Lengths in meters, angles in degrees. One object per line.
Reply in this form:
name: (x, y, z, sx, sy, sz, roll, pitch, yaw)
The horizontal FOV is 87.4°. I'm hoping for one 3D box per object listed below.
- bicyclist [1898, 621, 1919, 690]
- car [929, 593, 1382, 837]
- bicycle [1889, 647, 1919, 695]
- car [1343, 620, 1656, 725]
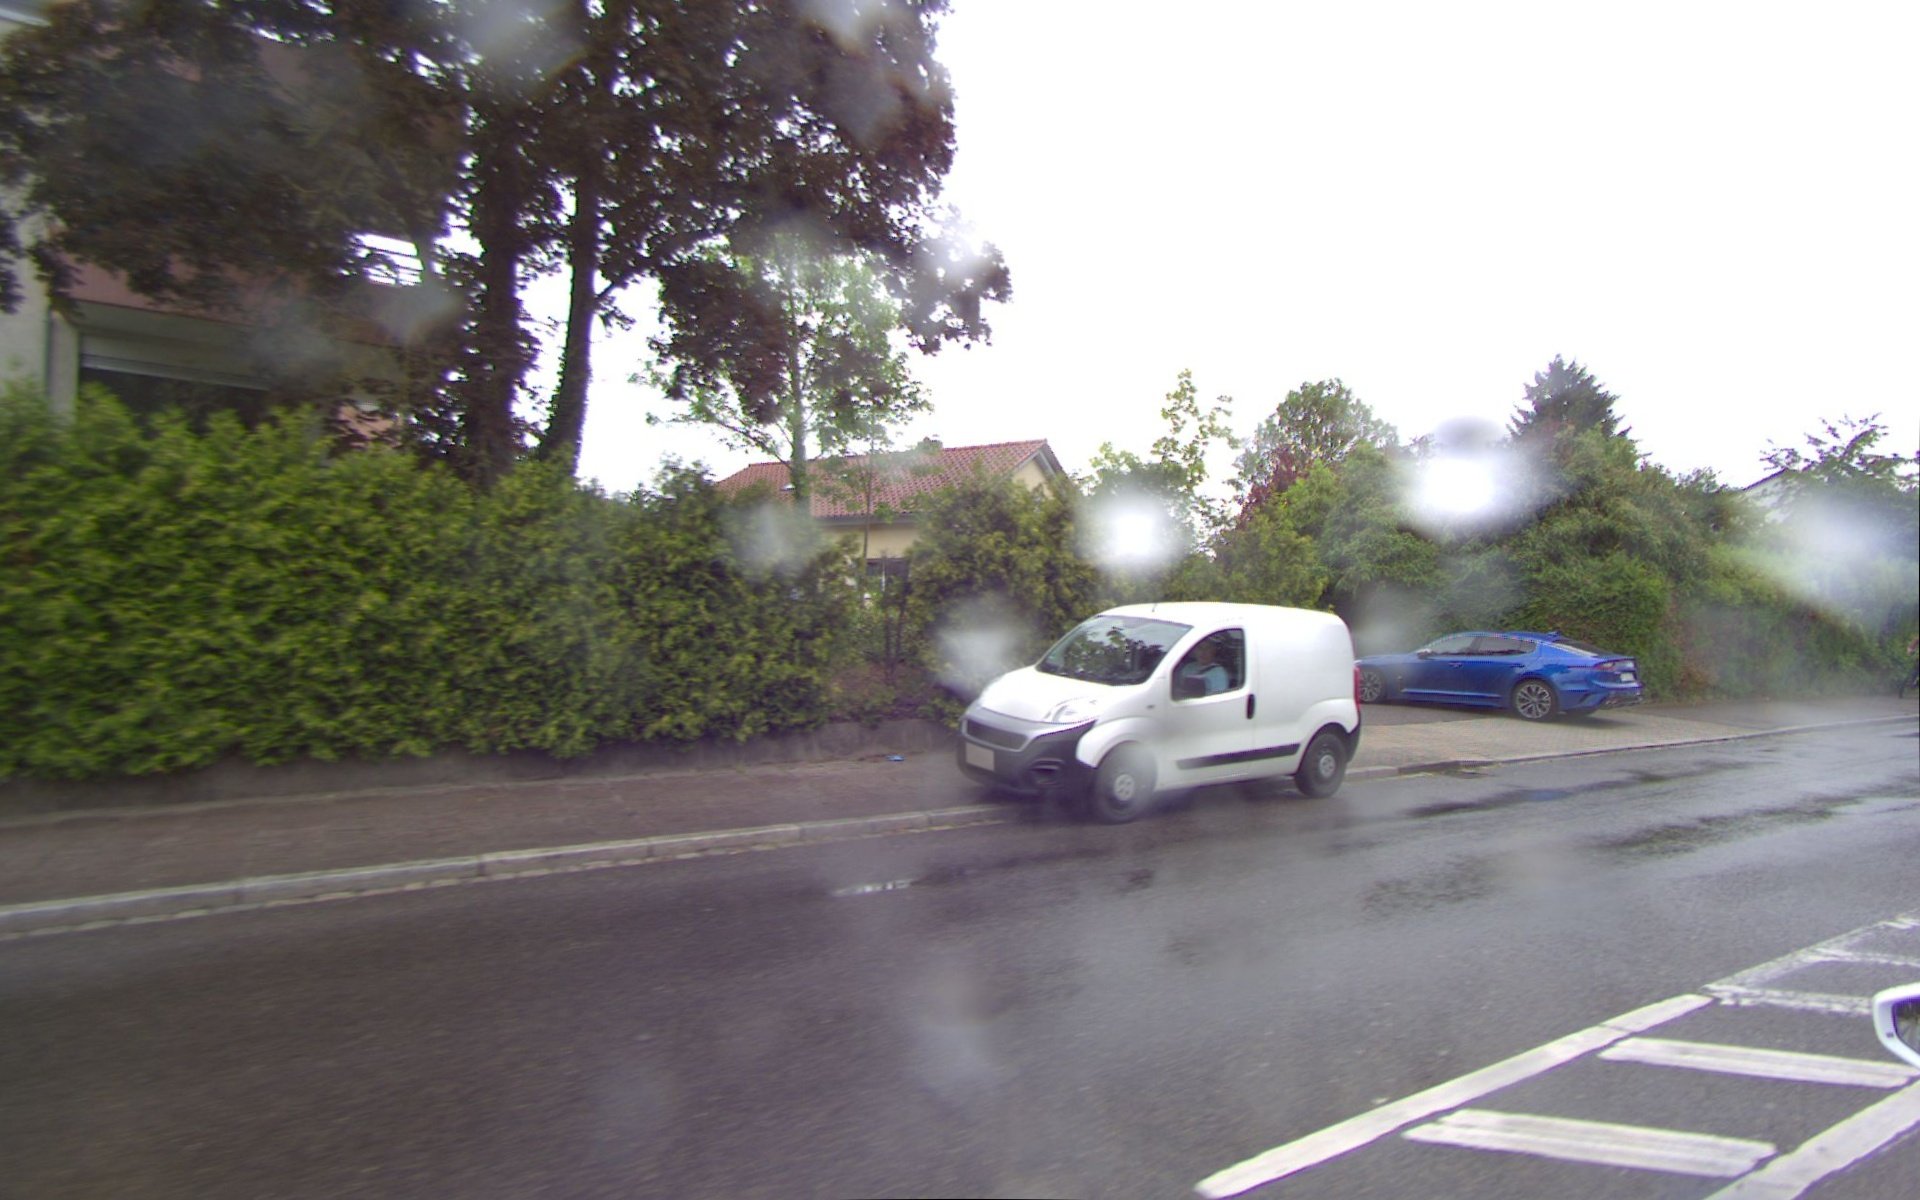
bicyclist: (23.101, 1.335, 24.018, 0.858, 1.633, 0.760, 1, 0, -31)
car: (1.854, 0.865, 9.151, 3.935, 1.731, 1.691, 1, 2, -32)
bicycle: (23.033, 1.687, 23.975, 1.967, 1.101, 0.743, 2, 0, -32)
car: (9.131, 1.137, 17.367, 1.788, 1.380, 4.451, -1, 2, -36)
